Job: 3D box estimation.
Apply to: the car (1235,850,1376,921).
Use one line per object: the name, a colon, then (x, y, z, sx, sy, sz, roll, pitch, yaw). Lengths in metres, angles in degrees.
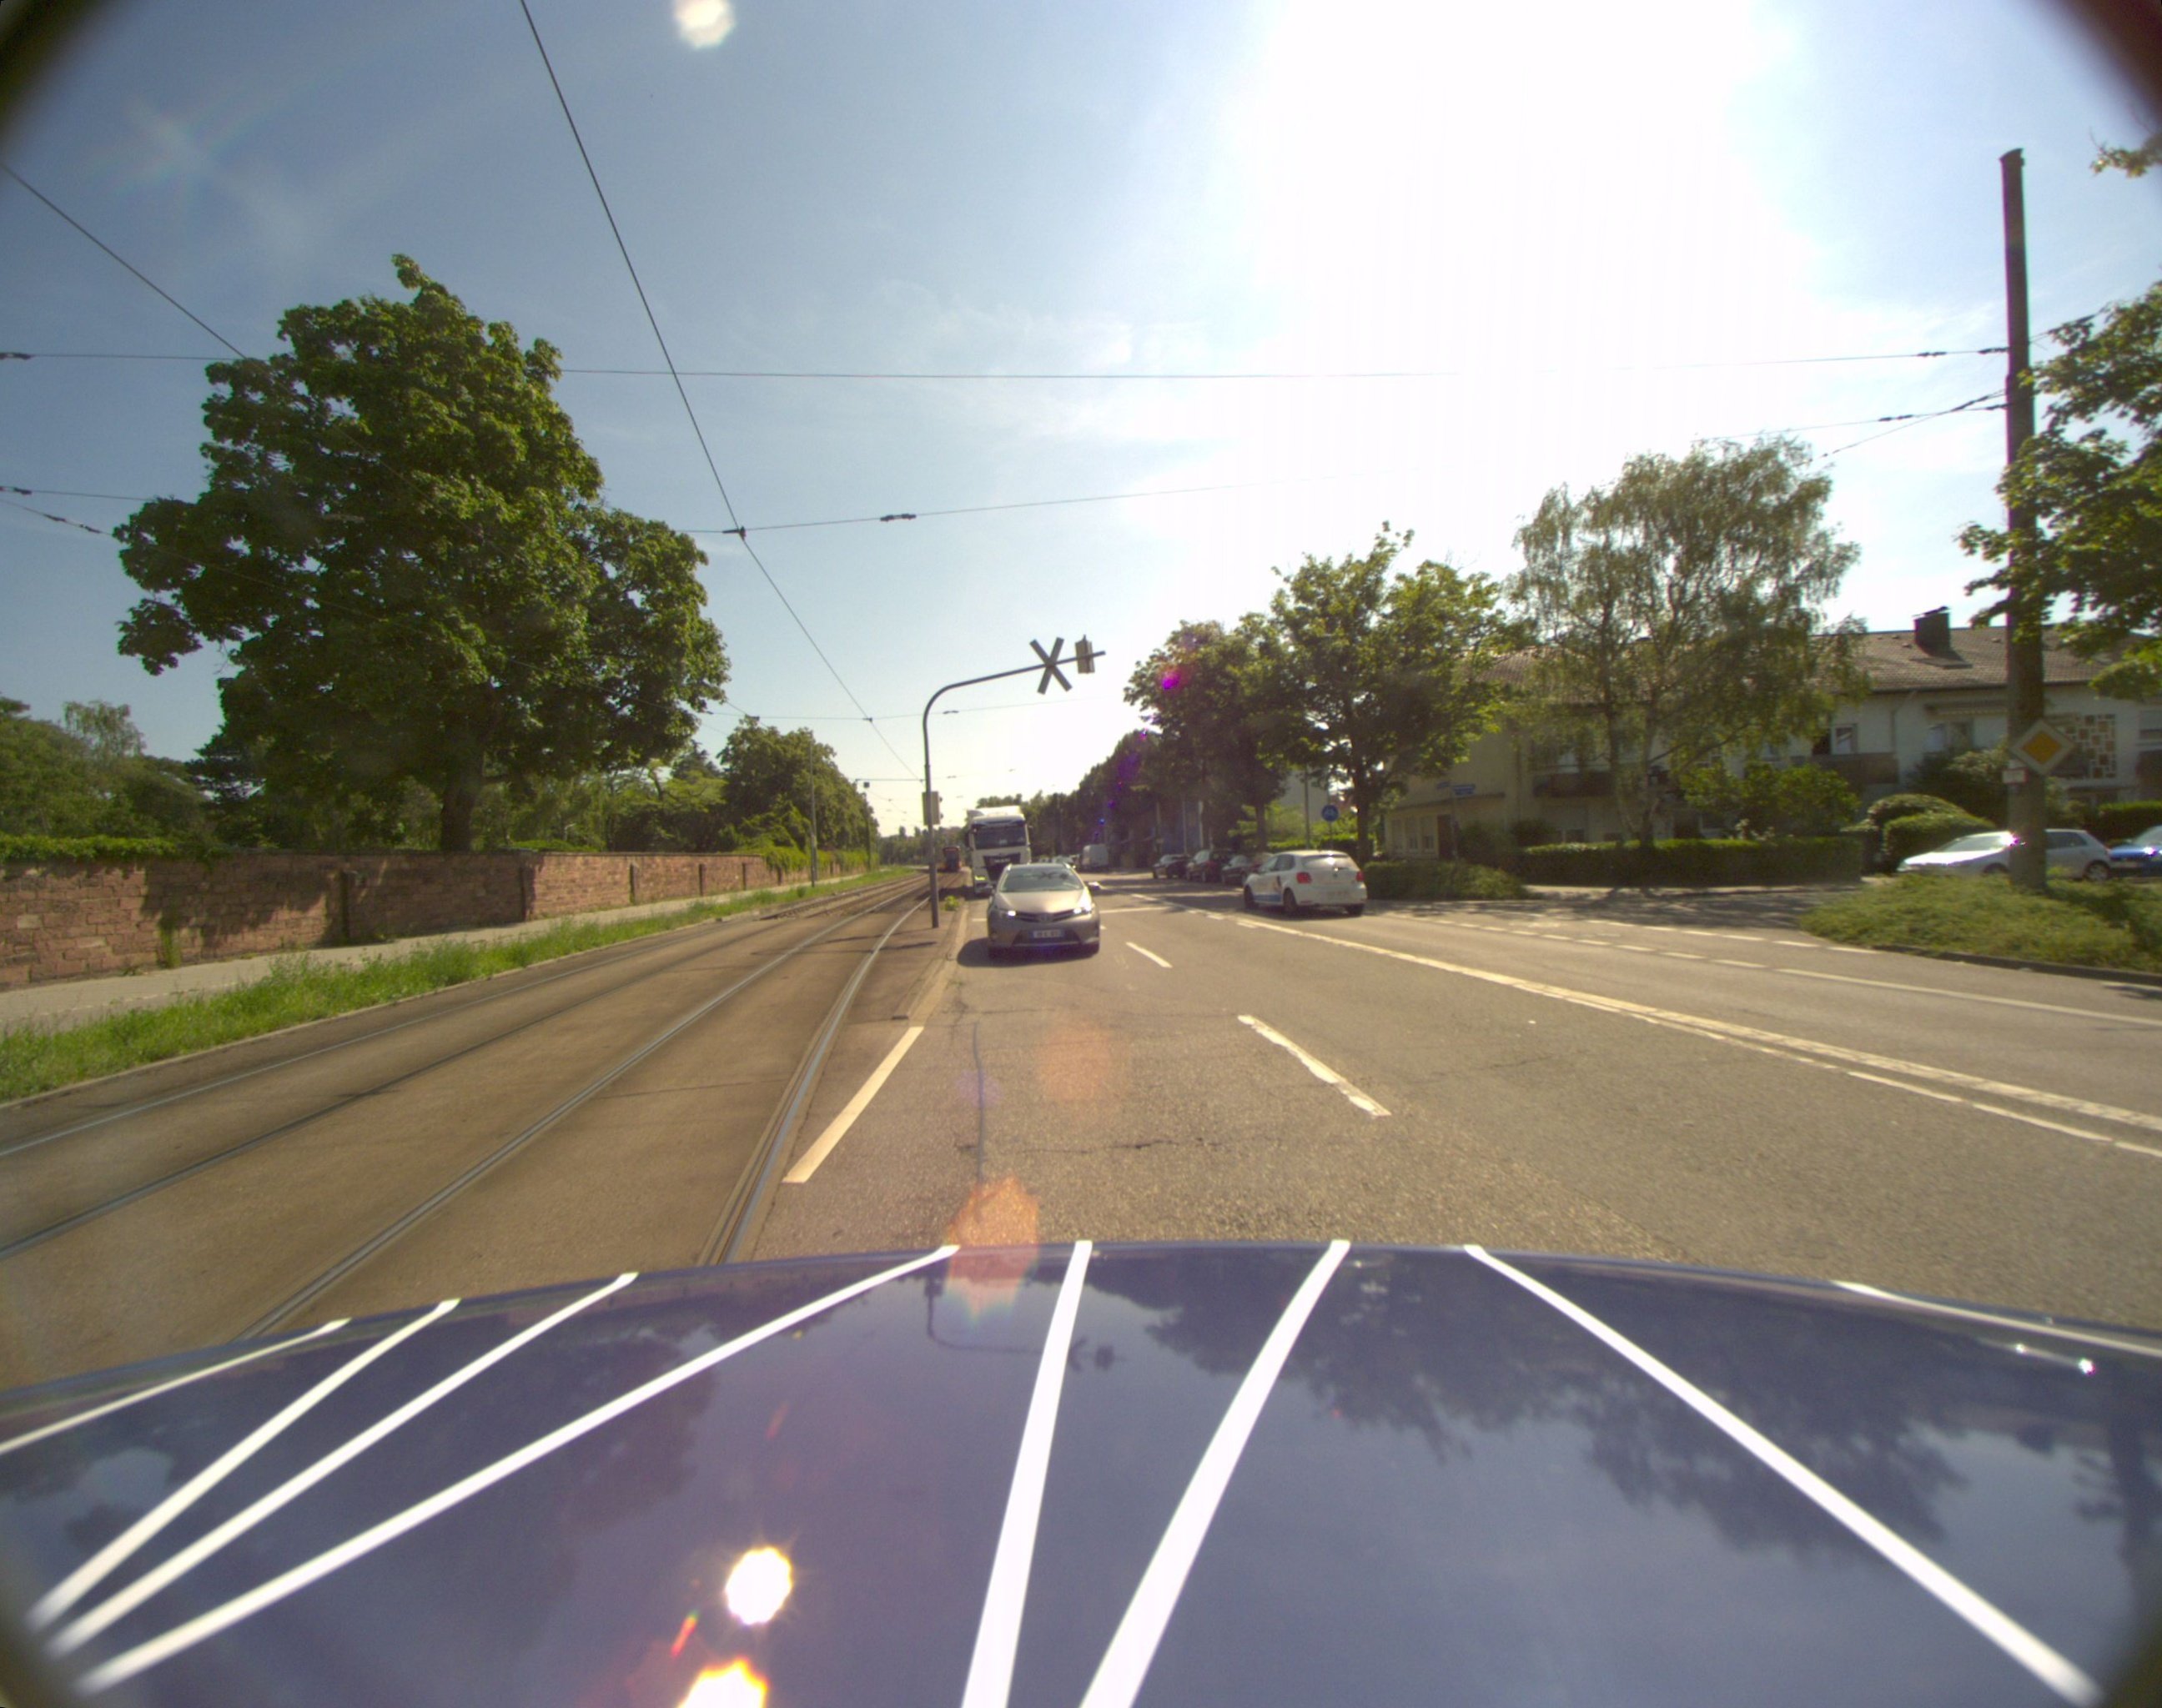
car: (5.128, 0.661, 17.923, 1.733, 1.457, 3.997, -1, 0, -7)

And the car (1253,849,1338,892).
car: (7.947, 0.579, 28.503, 1.620, 1.442, 4.080, -2, 0, -6)

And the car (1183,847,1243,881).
car: (6.704, 0.490, 38.921, 1.680, 1.603, 4.239, -2, 0, -9)

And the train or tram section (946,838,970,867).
train or tram section: (-17.177, -0.227, 106.889, 2.678, 3.631, 15.293, -4, 1, -7)

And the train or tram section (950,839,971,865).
train or tram section: (-19.459, -0.364, 123.812, 2.681, 3.631, 18.942, -4, 1, -8)

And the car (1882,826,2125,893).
car: (23.536, 0.129, 19.496, 3.997, 1.516, 1.807, -2, 1, 1)

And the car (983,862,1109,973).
car: (-0.756, 0.934, 13.025, 1.720, 1.439, 4.027, -4, 1, -8)

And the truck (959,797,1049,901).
truck: (-4.100, -0.278, 38.368, 3.393, 4.046, 14.275, -4, 1, -8)

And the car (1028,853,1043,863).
car: (-7.732, 0.622, 128.913, 1.681, 1.493, 3.762, -6, 1, -14)

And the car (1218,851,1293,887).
car: (7.572, 0.599, 33.363, 1.702, 1.387, 4.578, -2, 0, -7)

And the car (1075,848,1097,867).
car: (0.542, 0.350, 84.538, 1.680, 1.925, 4.454, -6, 1, -7)

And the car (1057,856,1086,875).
car: (-0.823, 0.854, 60.148, 1.791, 1.401, 4.302, -1, 0, -7)

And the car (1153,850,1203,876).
car: (5.750, 0.515, 45.595, 1.680, 1.427, 4.454, -2, 0, -9)

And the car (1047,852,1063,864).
car: (-3.825, 0.615, 111.497, 1.680, 1.493, 3.763, -6, 1, -11)

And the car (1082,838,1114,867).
car: (1.654, -0.116, 76.288, 2.017, 2.636, 6.082, -6, 1, -7)

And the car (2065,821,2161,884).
car: (28.540, -0.105, 19.612, 3.997, 1.516, 1.807, -2, 1, -1)
